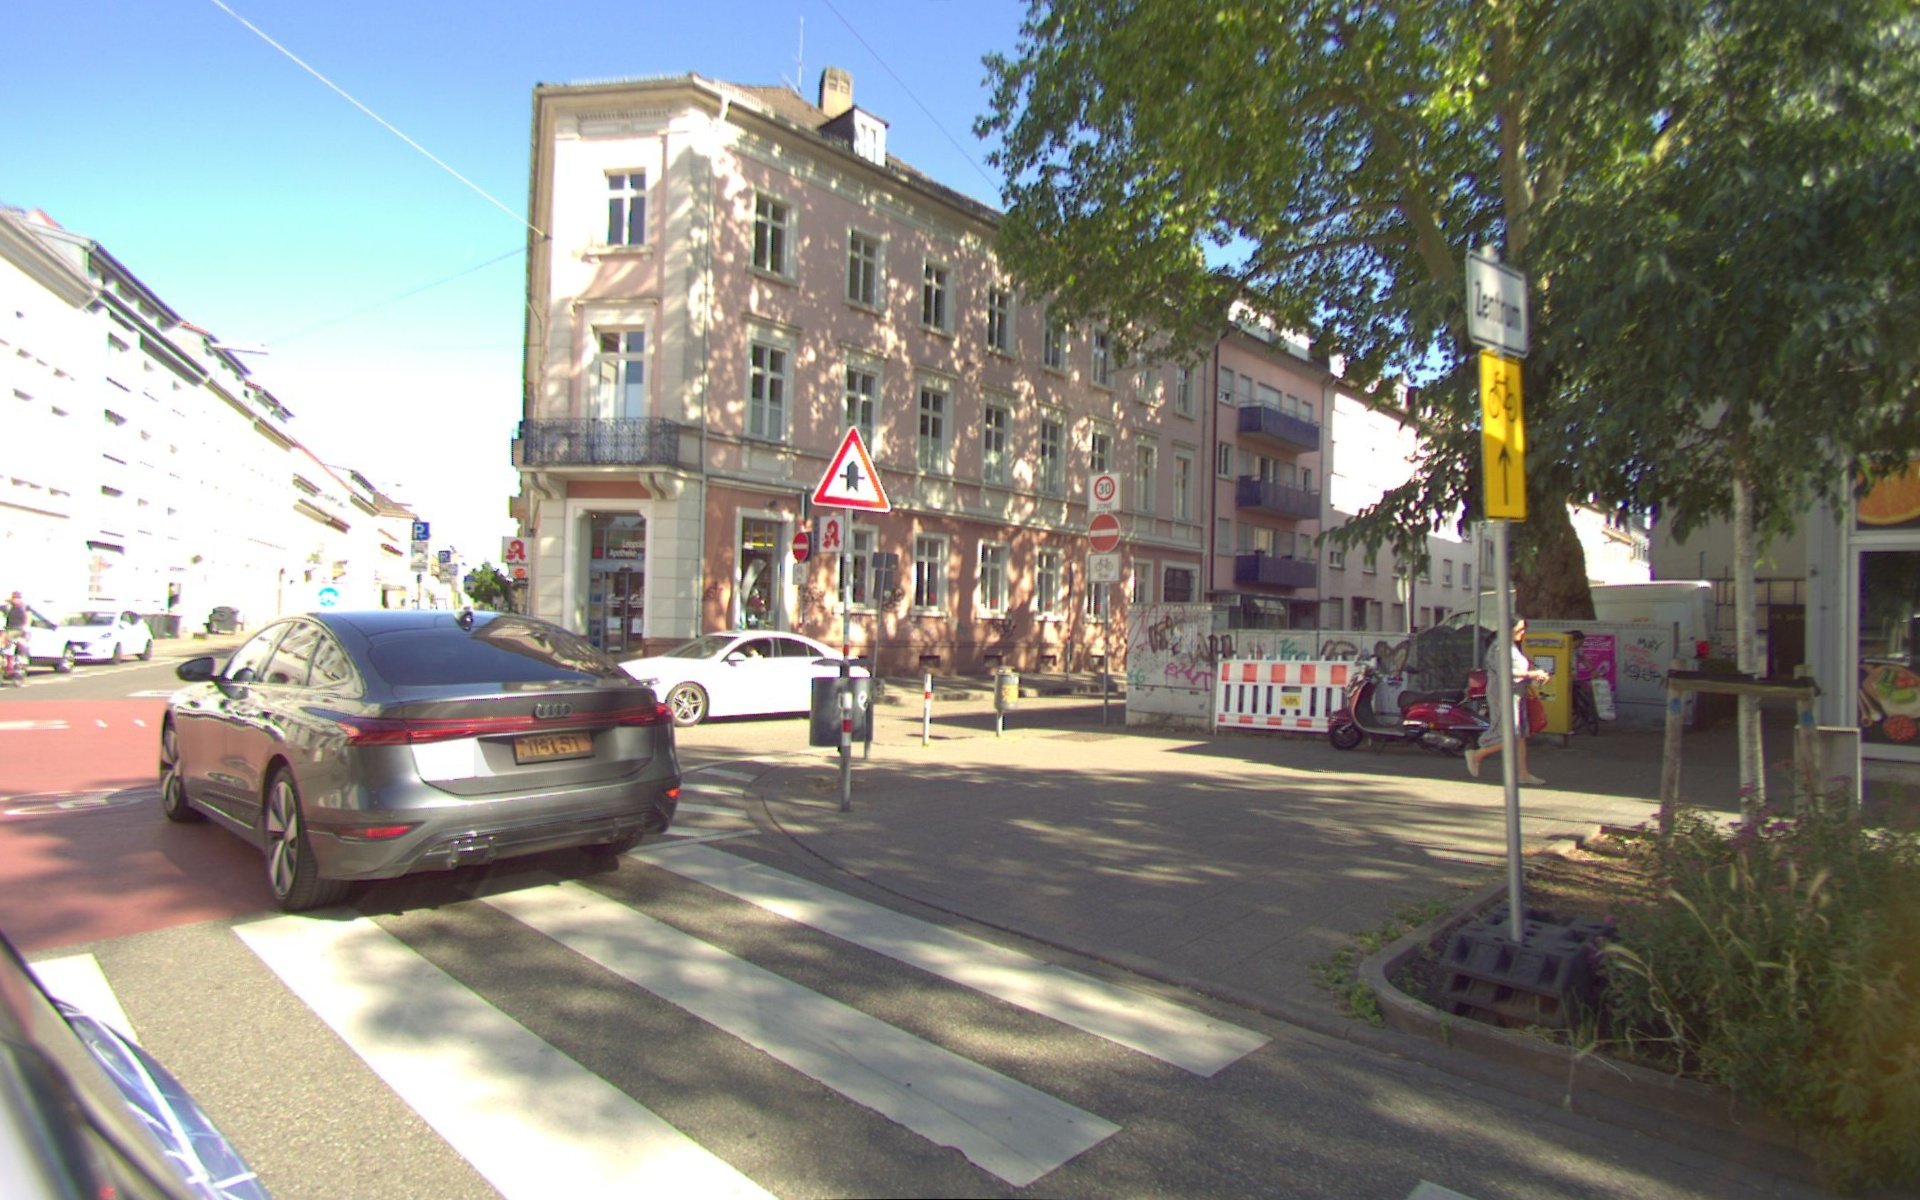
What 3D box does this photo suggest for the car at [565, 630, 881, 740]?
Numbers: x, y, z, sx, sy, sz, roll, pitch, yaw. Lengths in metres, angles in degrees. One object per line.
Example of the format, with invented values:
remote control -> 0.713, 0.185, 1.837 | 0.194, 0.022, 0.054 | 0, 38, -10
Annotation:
car -> -3.571, 1.239, 15.852 | 4.494, 1.468, 1.865 | 3, -3, -44

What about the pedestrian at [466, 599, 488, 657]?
pedestrian -> -15.930, 0.924, 33.373 | 0.561, 1.870, 0.709 | -1, 0, -30

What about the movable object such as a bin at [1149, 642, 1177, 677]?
movable object such as a bin -> 6.606, 1.924, 32.919 | 0.571, 1.092, 0.645 | 4, 0, 42

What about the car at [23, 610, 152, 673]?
car -> -23.202, 1.062, 27.069 | 1.604, 1.553, 3.651 | 1, -1, -24

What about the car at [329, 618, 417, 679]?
car -> -16.471, 1.333, 28.557 | 1.678, 1.444, 3.651 | 5, -2, -24

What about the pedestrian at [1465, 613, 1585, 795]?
pedestrian -> 5.207, 0.930, 9.389 | 0.842, 1.585, 0.839 | -2, -2, 25

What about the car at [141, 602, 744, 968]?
car -> -3.501, 0.782, 6.356 | 4.577, 1.465, 1.888 | 0, -2, 43

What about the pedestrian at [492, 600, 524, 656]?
pedestrian -> -15.070, 0.928, 33.744 | 0.816, 1.777, 0.754 | 4, 0, -20

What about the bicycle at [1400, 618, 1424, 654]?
bicycle -> 22.649, 1.795, 50.697 | 0.403, 1.749, 2.076 | 0, -2, 44

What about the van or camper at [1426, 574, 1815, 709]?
van or camper -> 14.422, 1.039, 22.618 | 6.930, 2.594, 1.971 | -5, -6, 44

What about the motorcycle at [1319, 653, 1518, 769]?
motorcycle -> 5.119, 1.195, 11.399 | 1.922, 1.189, 0.660 | -3, -4, 44

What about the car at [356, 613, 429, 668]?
car -> -18.706, 1.302, 33.479 | 1.678, 1.548, 3.651 | 5, -2, -24

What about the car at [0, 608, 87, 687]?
car -> -20.483, 0.961, 21.584 | 1.617, 1.553, 4.397 | 1, -1, -24

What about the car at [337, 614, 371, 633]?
car -> -44.919, 1.728, 75.033 | 1.677, 1.309, 3.651 | 2, -2, -24

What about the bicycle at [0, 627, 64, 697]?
bicycle -> -17.408, 1.112, 18.508 | 0.661, 1.208, 1.930 | 2, -1, -13

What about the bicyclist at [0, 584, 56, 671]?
bicyclist -> -17.408, 0.501, 18.659 | 0.628, 1.558, 1.027 | 2, -2, -13

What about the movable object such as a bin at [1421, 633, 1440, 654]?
movable object such as a bin -> 24.301, 2.240, 52.293 | 0.717, 1.010, 0.539 | 4, 0, 42

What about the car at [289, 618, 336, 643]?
car -> -37.165, 1.735, 58.179 | 1.677, 1.309, 3.651 | 2, -2, -24
